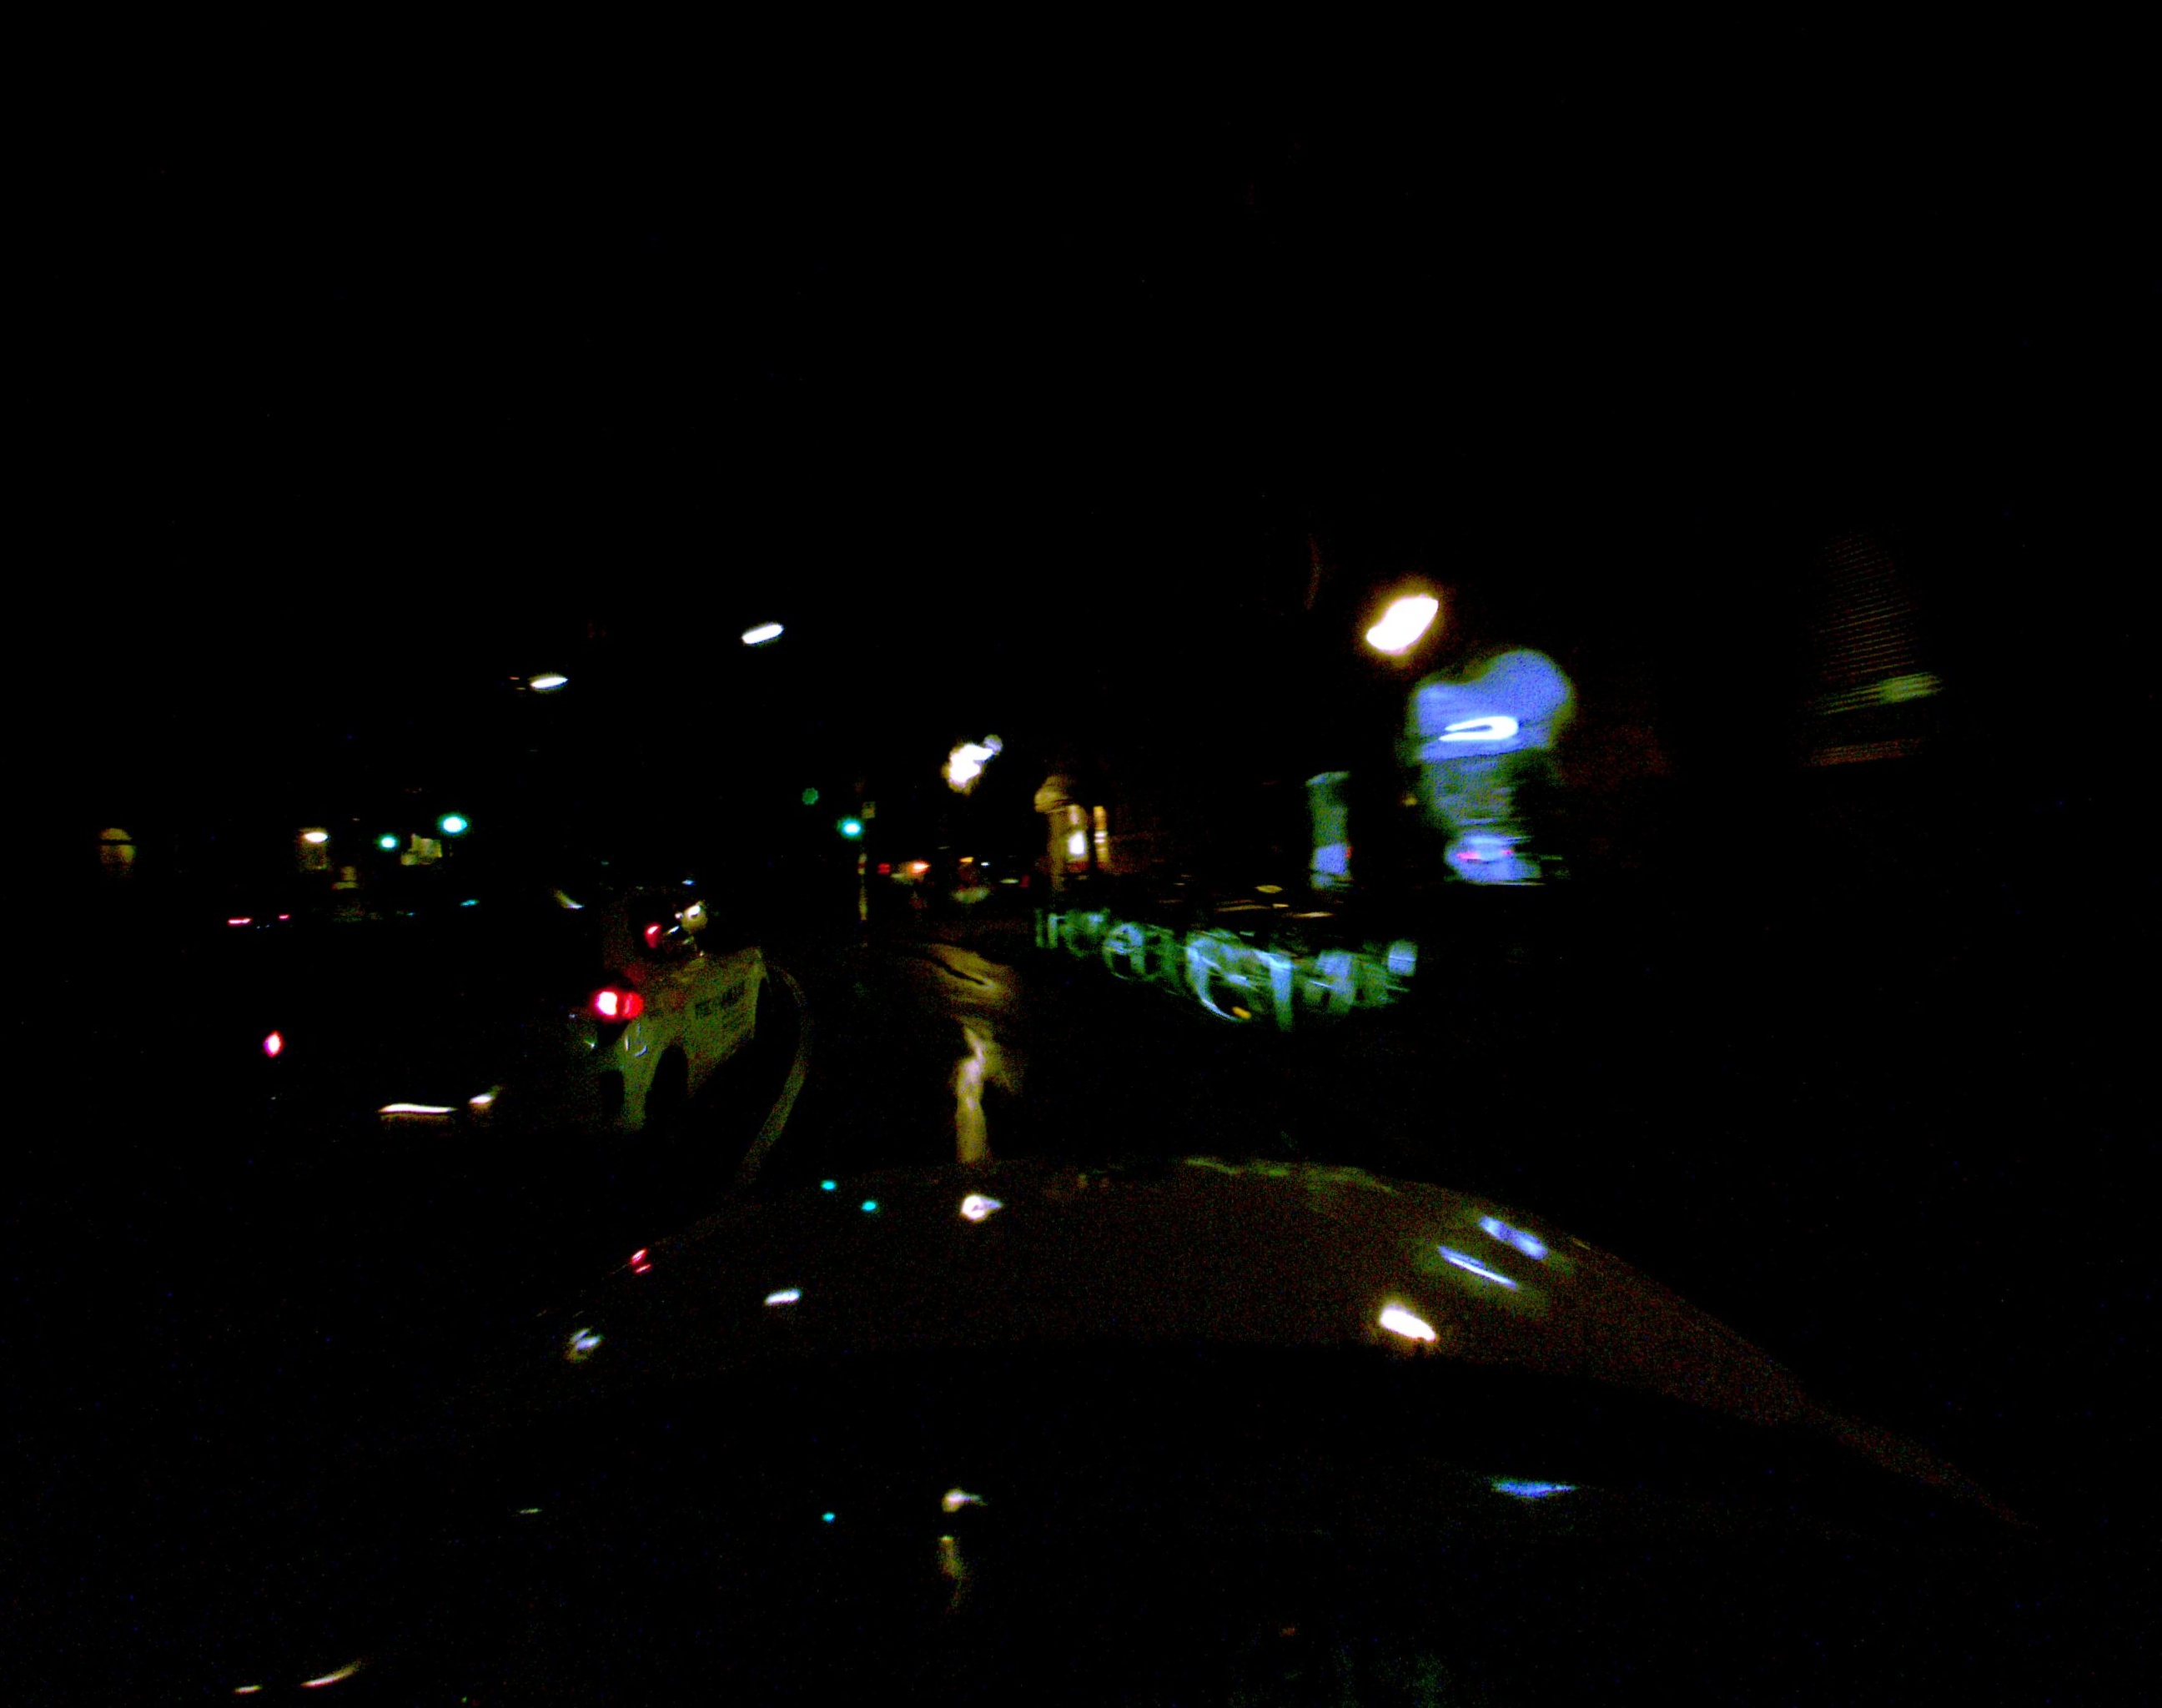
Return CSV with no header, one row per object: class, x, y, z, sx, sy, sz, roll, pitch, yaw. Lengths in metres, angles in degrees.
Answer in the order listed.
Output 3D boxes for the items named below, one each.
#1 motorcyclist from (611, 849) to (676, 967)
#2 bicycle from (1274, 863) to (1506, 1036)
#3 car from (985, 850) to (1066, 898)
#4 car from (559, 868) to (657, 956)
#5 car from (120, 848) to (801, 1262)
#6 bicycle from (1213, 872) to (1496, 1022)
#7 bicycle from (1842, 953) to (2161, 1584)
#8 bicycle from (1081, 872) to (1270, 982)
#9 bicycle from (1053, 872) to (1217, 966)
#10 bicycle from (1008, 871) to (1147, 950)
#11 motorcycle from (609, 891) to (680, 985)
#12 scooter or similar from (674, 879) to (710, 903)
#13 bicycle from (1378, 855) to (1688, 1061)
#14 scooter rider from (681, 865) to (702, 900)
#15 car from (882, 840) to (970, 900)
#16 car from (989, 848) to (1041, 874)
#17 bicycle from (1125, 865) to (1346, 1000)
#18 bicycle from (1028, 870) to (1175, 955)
motorcyclist,-6.604,0.781,12.279,0.795,1.695,0.812,-1,-1,-32
bicycle,2.431,0.658,6.289,1.983,1.053,0.635,-3,0,-35
car,-2.119,0.750,32.040,1.633,1.524,3.600,-7,-1,22
car,-10.843,1.230,18.560,1.760,1.739,3.760,-1,-1,-33
car,-3.192,0.819,5.261,1.919,1.515,3.586,-6,1,-10
bicycle,2.043,0.708,6.329,1.957,1.006,0.644,-3,0,8
bicycle,2.889,0.728,1.622,1.957,1.006,0.644,-3,0,8
bicycle,1.059,0.769,9.059,1.975,1.006,0.638,-3,0,-21
bicycle,0.704,0.799,10.475,1.975,1.006,0.638,-3,0,-21
bicycle,-0.048,0.828,12.365,1.975,1.006,0.638,-3,0,-21
motorcycle,-6.638,1.208,12.324,0.795,1.213,2.227,-1,-1,-32
scooter or similar,-18.030,1.701,37.748,0.634,1.052,1.378,0,0,34
bicycle,2.956,0.606,5.334,1.825,1.087,0.716,-3,0,-20
scooter rider,-18.038,1.302,37.736,0.634,1.573,0.656,0,0,34
car,-6.855,0.636,36.657,2.204,2.441,5.396,-2,0,8
car,-5.286,0.529,65.977,1.976,1.825,5.338,0,2,22
bicycle,1.479,0.700,7.767,1.975,1.065,0.638,-3,0,-21
bicycle,0.296,0.804,11.678,1.975,1.035,0.638,-3,0,-21
